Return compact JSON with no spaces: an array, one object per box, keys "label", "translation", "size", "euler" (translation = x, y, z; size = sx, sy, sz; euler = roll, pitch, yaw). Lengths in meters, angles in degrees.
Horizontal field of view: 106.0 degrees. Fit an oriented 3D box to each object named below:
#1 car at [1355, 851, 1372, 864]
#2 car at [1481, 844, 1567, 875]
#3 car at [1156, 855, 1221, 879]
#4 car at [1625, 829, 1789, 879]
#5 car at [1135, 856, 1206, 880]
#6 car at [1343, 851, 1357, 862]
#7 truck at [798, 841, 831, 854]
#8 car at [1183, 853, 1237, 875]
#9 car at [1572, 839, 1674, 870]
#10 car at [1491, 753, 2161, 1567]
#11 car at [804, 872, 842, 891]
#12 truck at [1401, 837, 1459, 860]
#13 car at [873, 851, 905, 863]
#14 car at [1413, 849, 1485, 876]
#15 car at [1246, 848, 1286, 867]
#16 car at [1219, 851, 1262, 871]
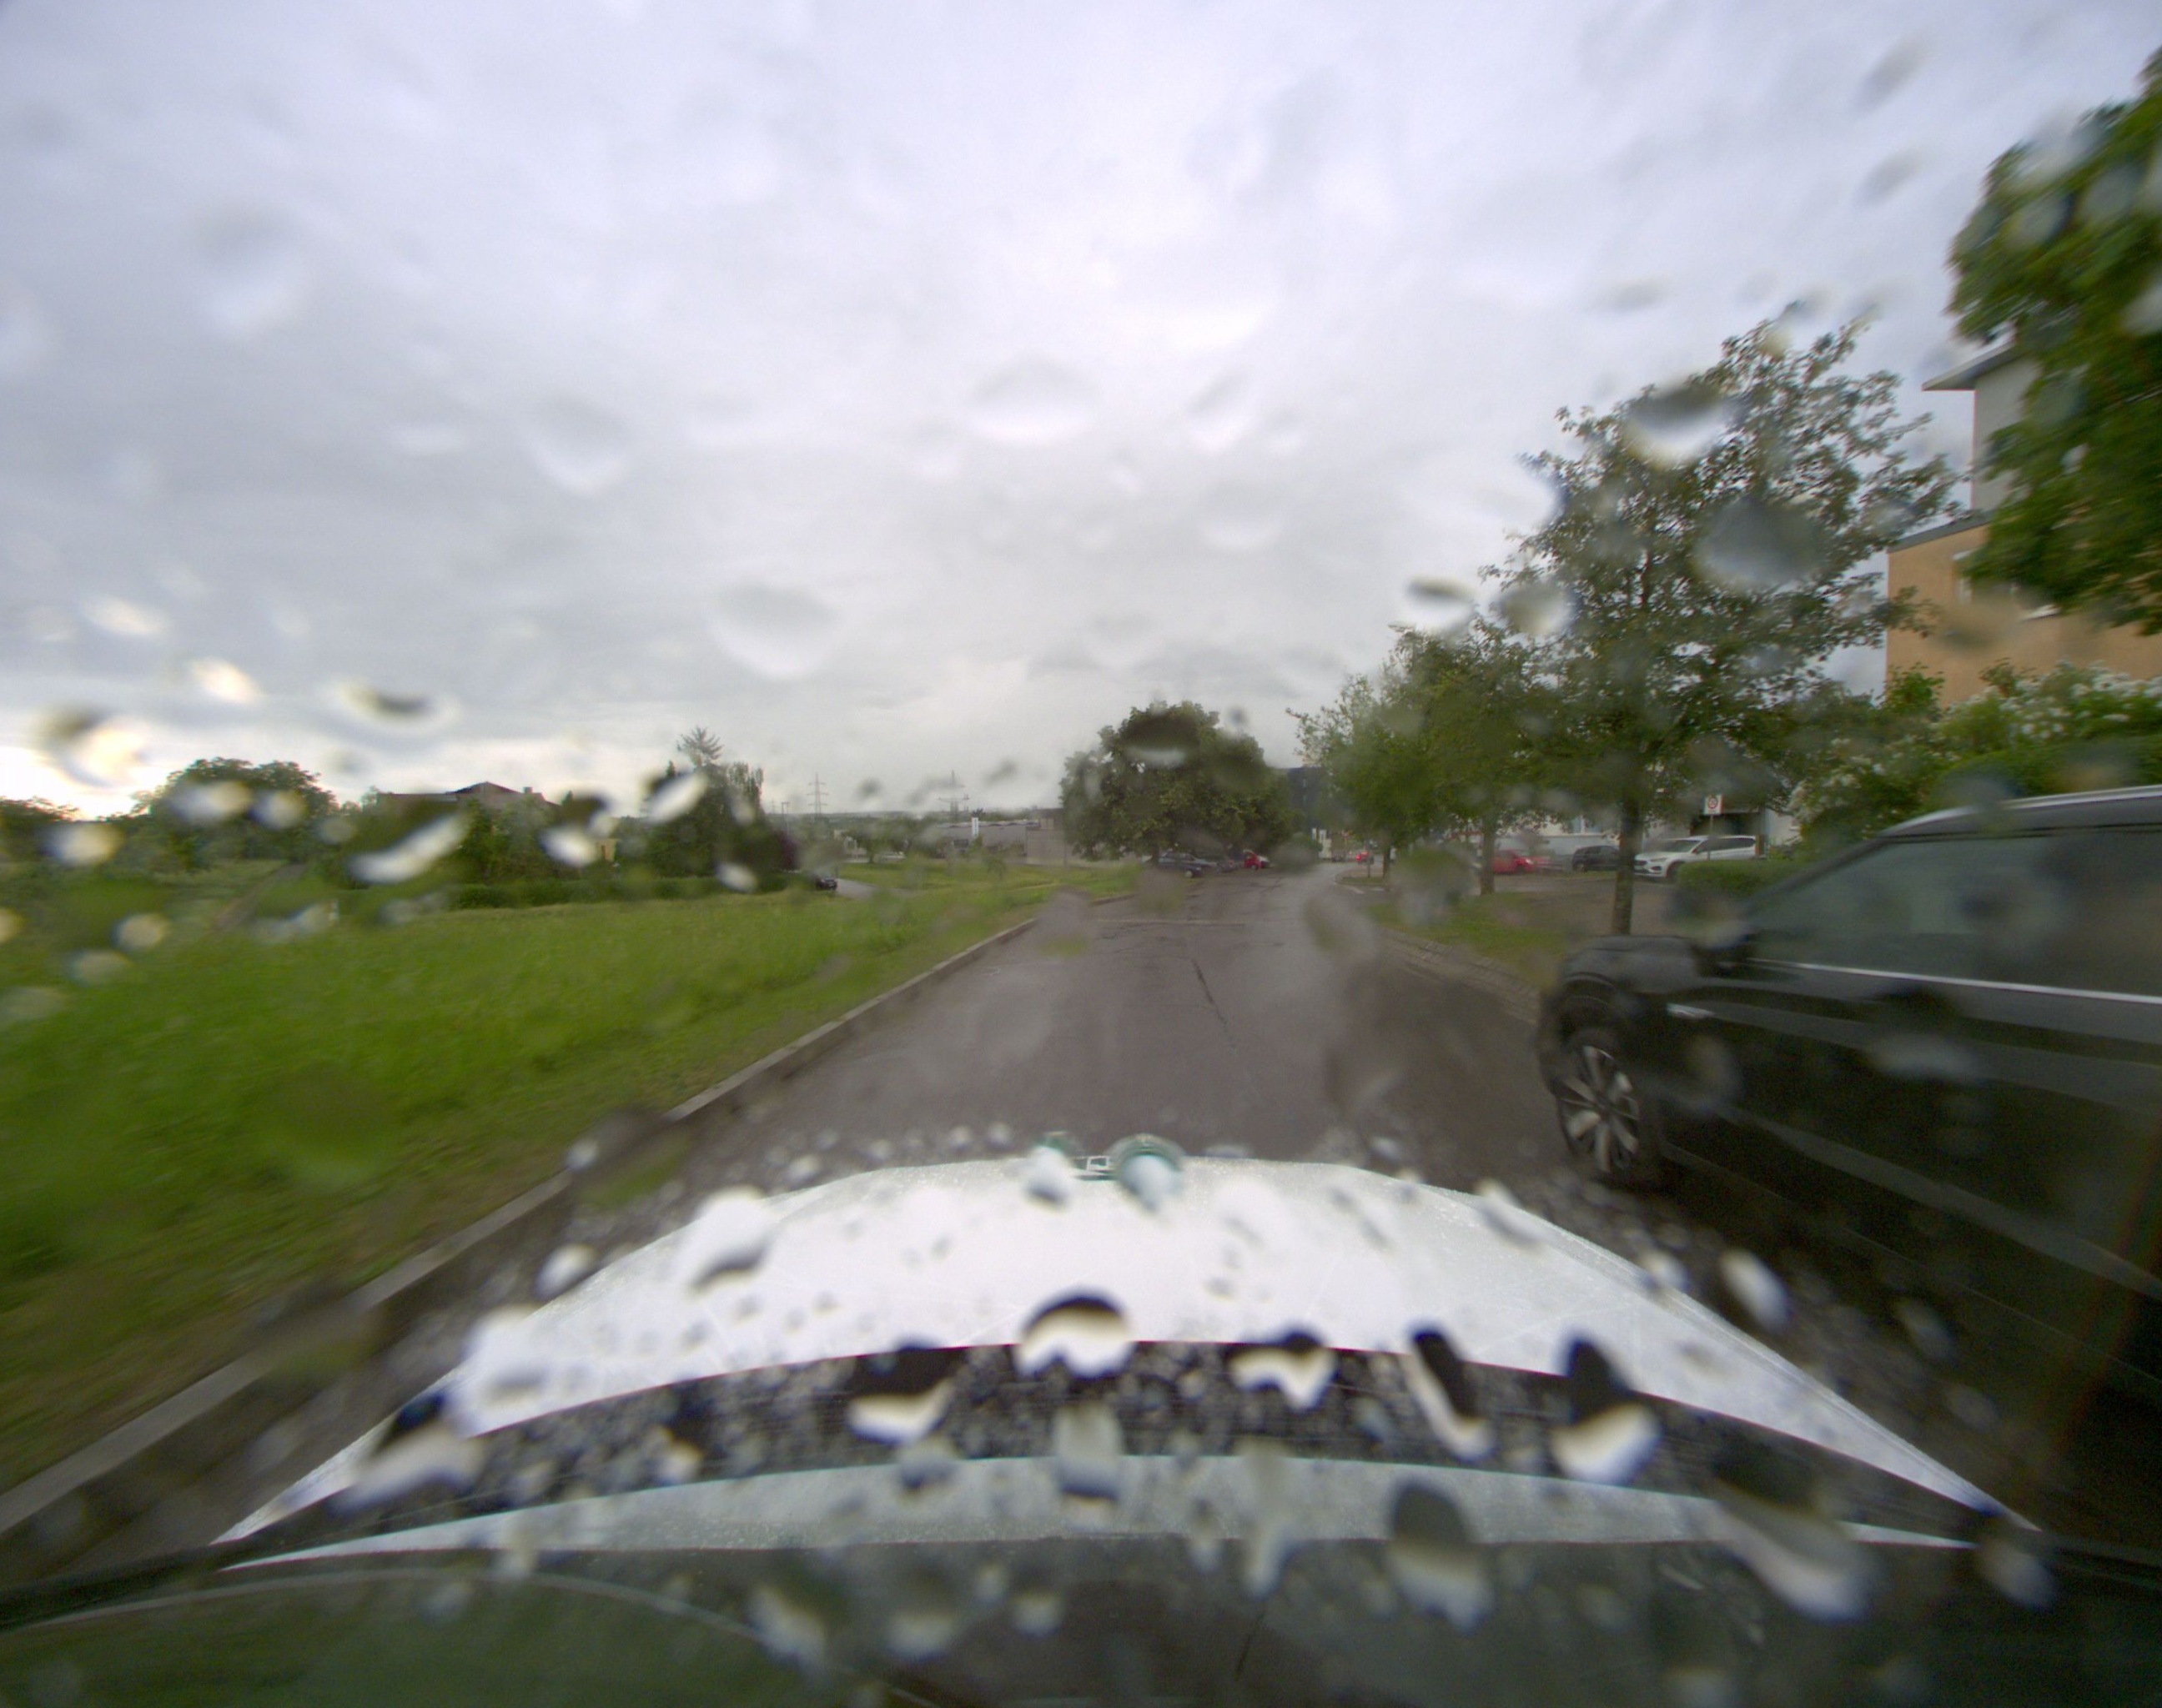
[{"label":"car","translation":[36.490,0.393,105.062],"size":[1.671,1.551,3.719],"euler":[0,2,25]},{"label":"car","translation":[23.326,0.296,43.074],"size":[1.874,1.475,3.960],"euler":[-2,-1,-12]},{"label":"car","translation":[7.119,0.851,53.765],"size":[3.957,1.361,1.862],"euler":[-2,-1,15]},{"label":"car","translation":[23.315,0.003,30.469],"size":[4.648,1.655,1.875],"euler":[-2,0,1]},{"label":"car","translation":[5.690,0.900,51.624],"size":[4.134,1.355,1.870],"euler":[-2,-1,15]},{"label":"car","translation":[42.664,0.346,129.198],"size":[1.859,1.597,4.022],"euler":[-3,-1,22]},{"label":"truck","translation":[-49.073,-1.194,150.114],"size":[5.353,2.309,2.408],"euler":[0,2,-37]},{"label":"car","translation":[9.706,0.736,61.322],"size":[3.842,1.547,1.780],"euler":[-1,0,14]},{"label":"car","translation":[26.947,0.051,40.623],"size":[1.815,1.417,3.911],"euler":[-2,-1,-20]},{"label":"car","translation":[3.189,0.632,2.404],"size":[1.802,1.703,4.601],"euler":[0,0,2]},{"label":"car","translation":[-24.220,2.534,76.368],"size":[1.791,1.596,3.951],"euler":[-2,1,-43]},{"label":"truck","translation":[47.243,-0.708,110.402],"size":[6.794,2.726,2.661],"euler":[-3,-1,32]},{"label":"car","translation":[-28.523,0.408,121.136],"size":[4.296,1.701,1.777],"euler":[1,2,-38]},{"label":"car","translation":[23.644,0.564,52.515],"size":[4.059,1.566,2.010],"euler":[-2,-1,21]},{"label":"car","translation":[19.644,0.356,86.425],"size":[3.957,1.811,2.008],"euler":[-2,-1,15]},{"label":"car","translation":[14.474,0.626,73.801],"size":[3.532,1.605,1.701],"euler":[-2,-1,18]}]
